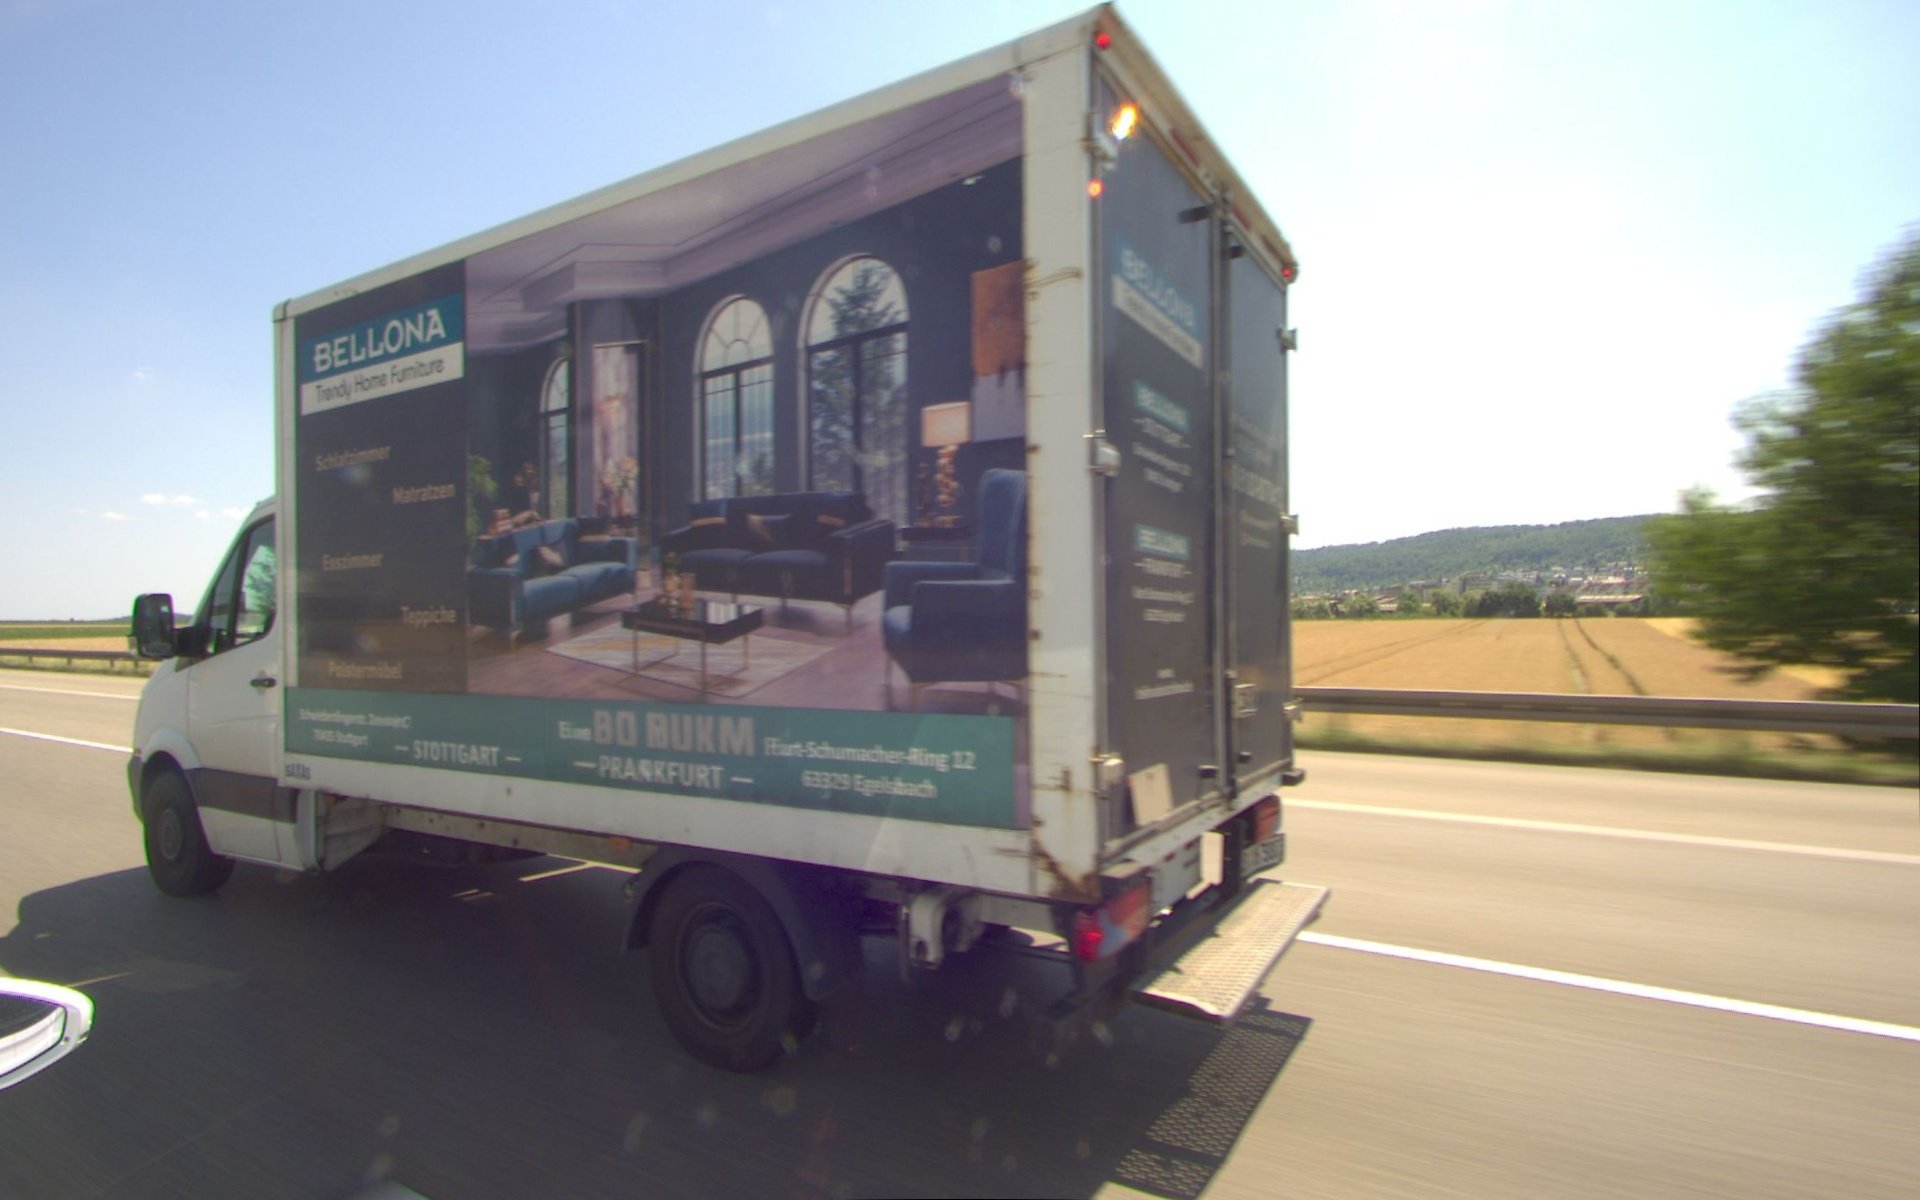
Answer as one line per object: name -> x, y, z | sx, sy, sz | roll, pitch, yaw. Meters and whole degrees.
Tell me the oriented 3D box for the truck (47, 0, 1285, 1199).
truck -> -1.982, 0.036, 5.200 | 6.653, 3.107, 2.317 | -1, -1, 32
